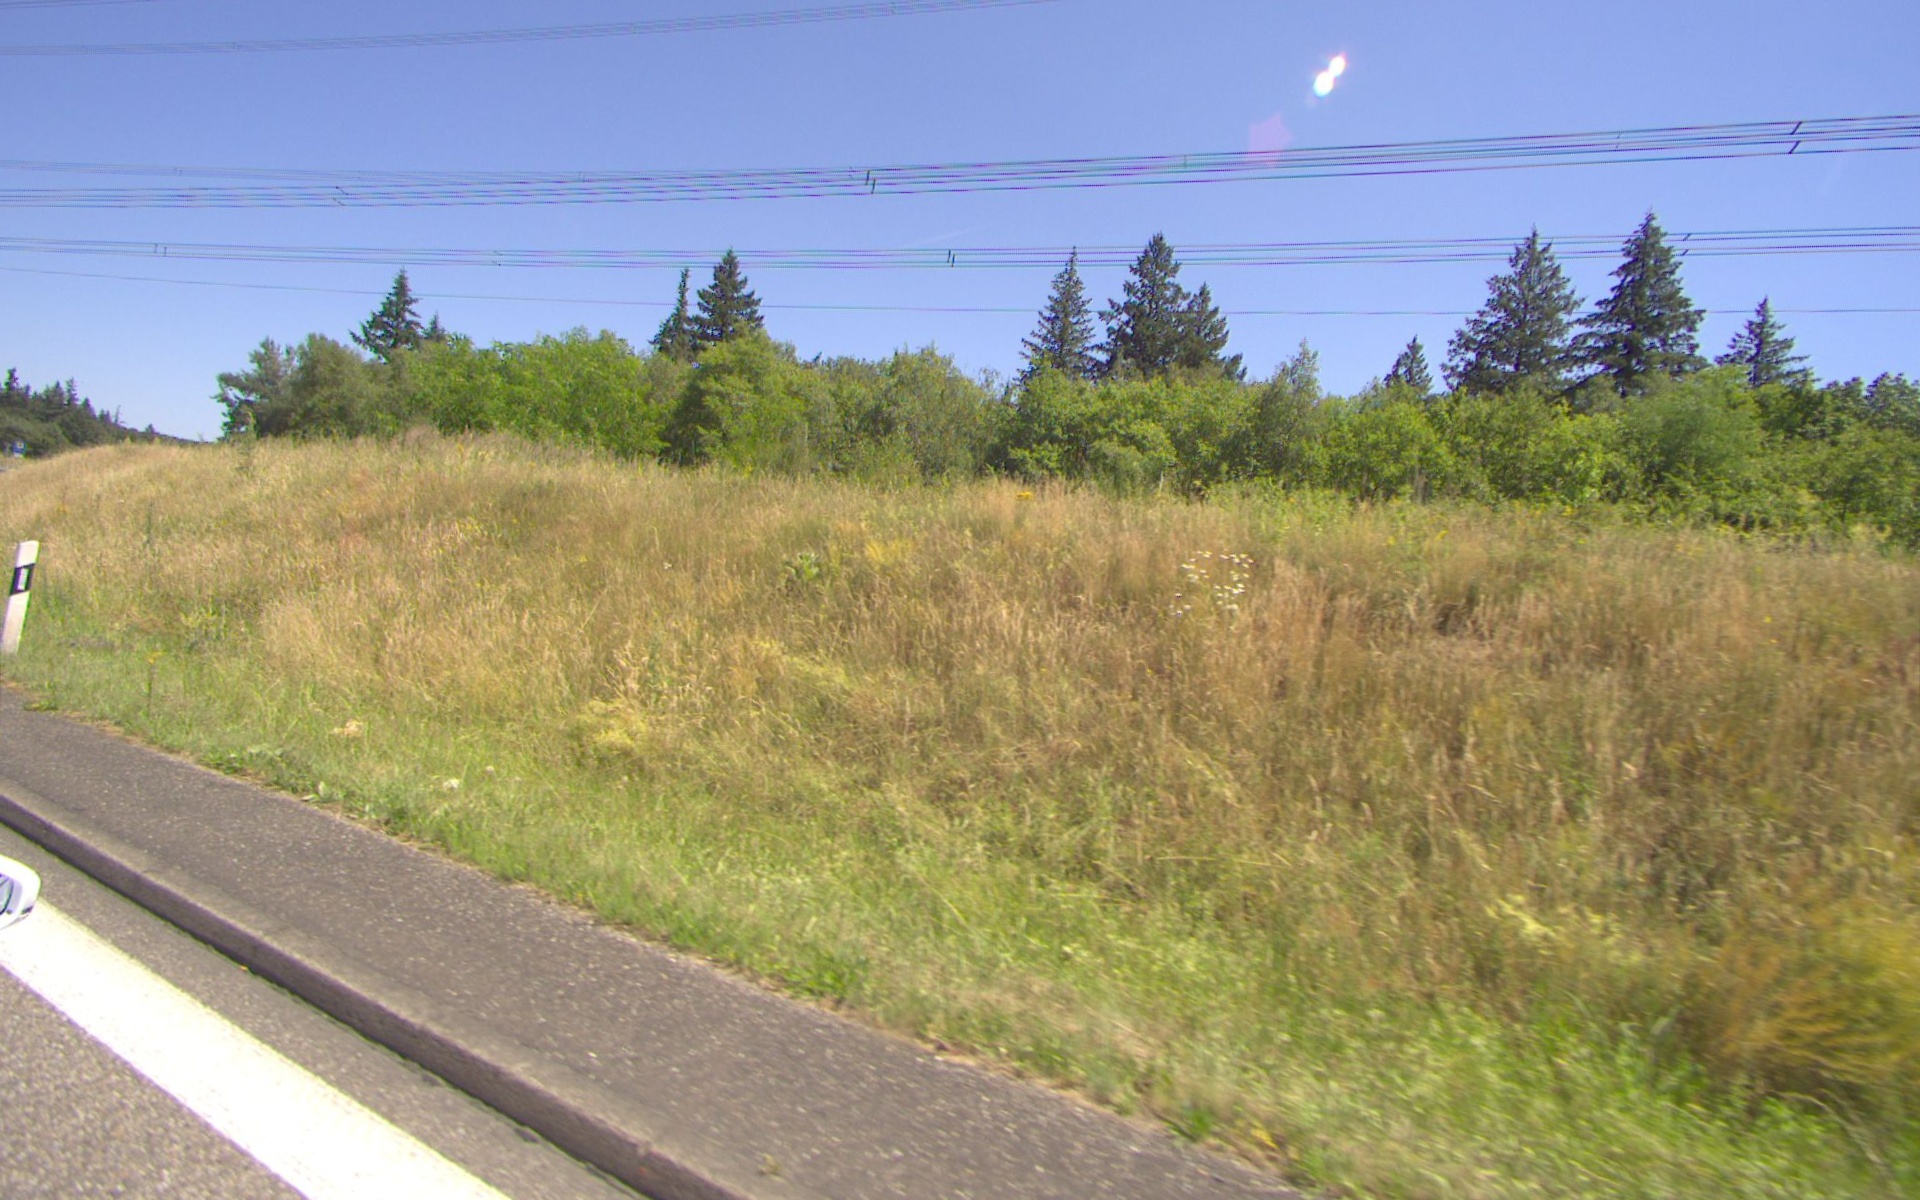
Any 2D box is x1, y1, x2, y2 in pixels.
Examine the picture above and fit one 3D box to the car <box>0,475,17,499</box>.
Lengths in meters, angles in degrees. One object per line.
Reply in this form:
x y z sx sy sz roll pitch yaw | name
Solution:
-74.146 -8.775 77.350 1.870 1.706 3.958 4 2 -37 | car
